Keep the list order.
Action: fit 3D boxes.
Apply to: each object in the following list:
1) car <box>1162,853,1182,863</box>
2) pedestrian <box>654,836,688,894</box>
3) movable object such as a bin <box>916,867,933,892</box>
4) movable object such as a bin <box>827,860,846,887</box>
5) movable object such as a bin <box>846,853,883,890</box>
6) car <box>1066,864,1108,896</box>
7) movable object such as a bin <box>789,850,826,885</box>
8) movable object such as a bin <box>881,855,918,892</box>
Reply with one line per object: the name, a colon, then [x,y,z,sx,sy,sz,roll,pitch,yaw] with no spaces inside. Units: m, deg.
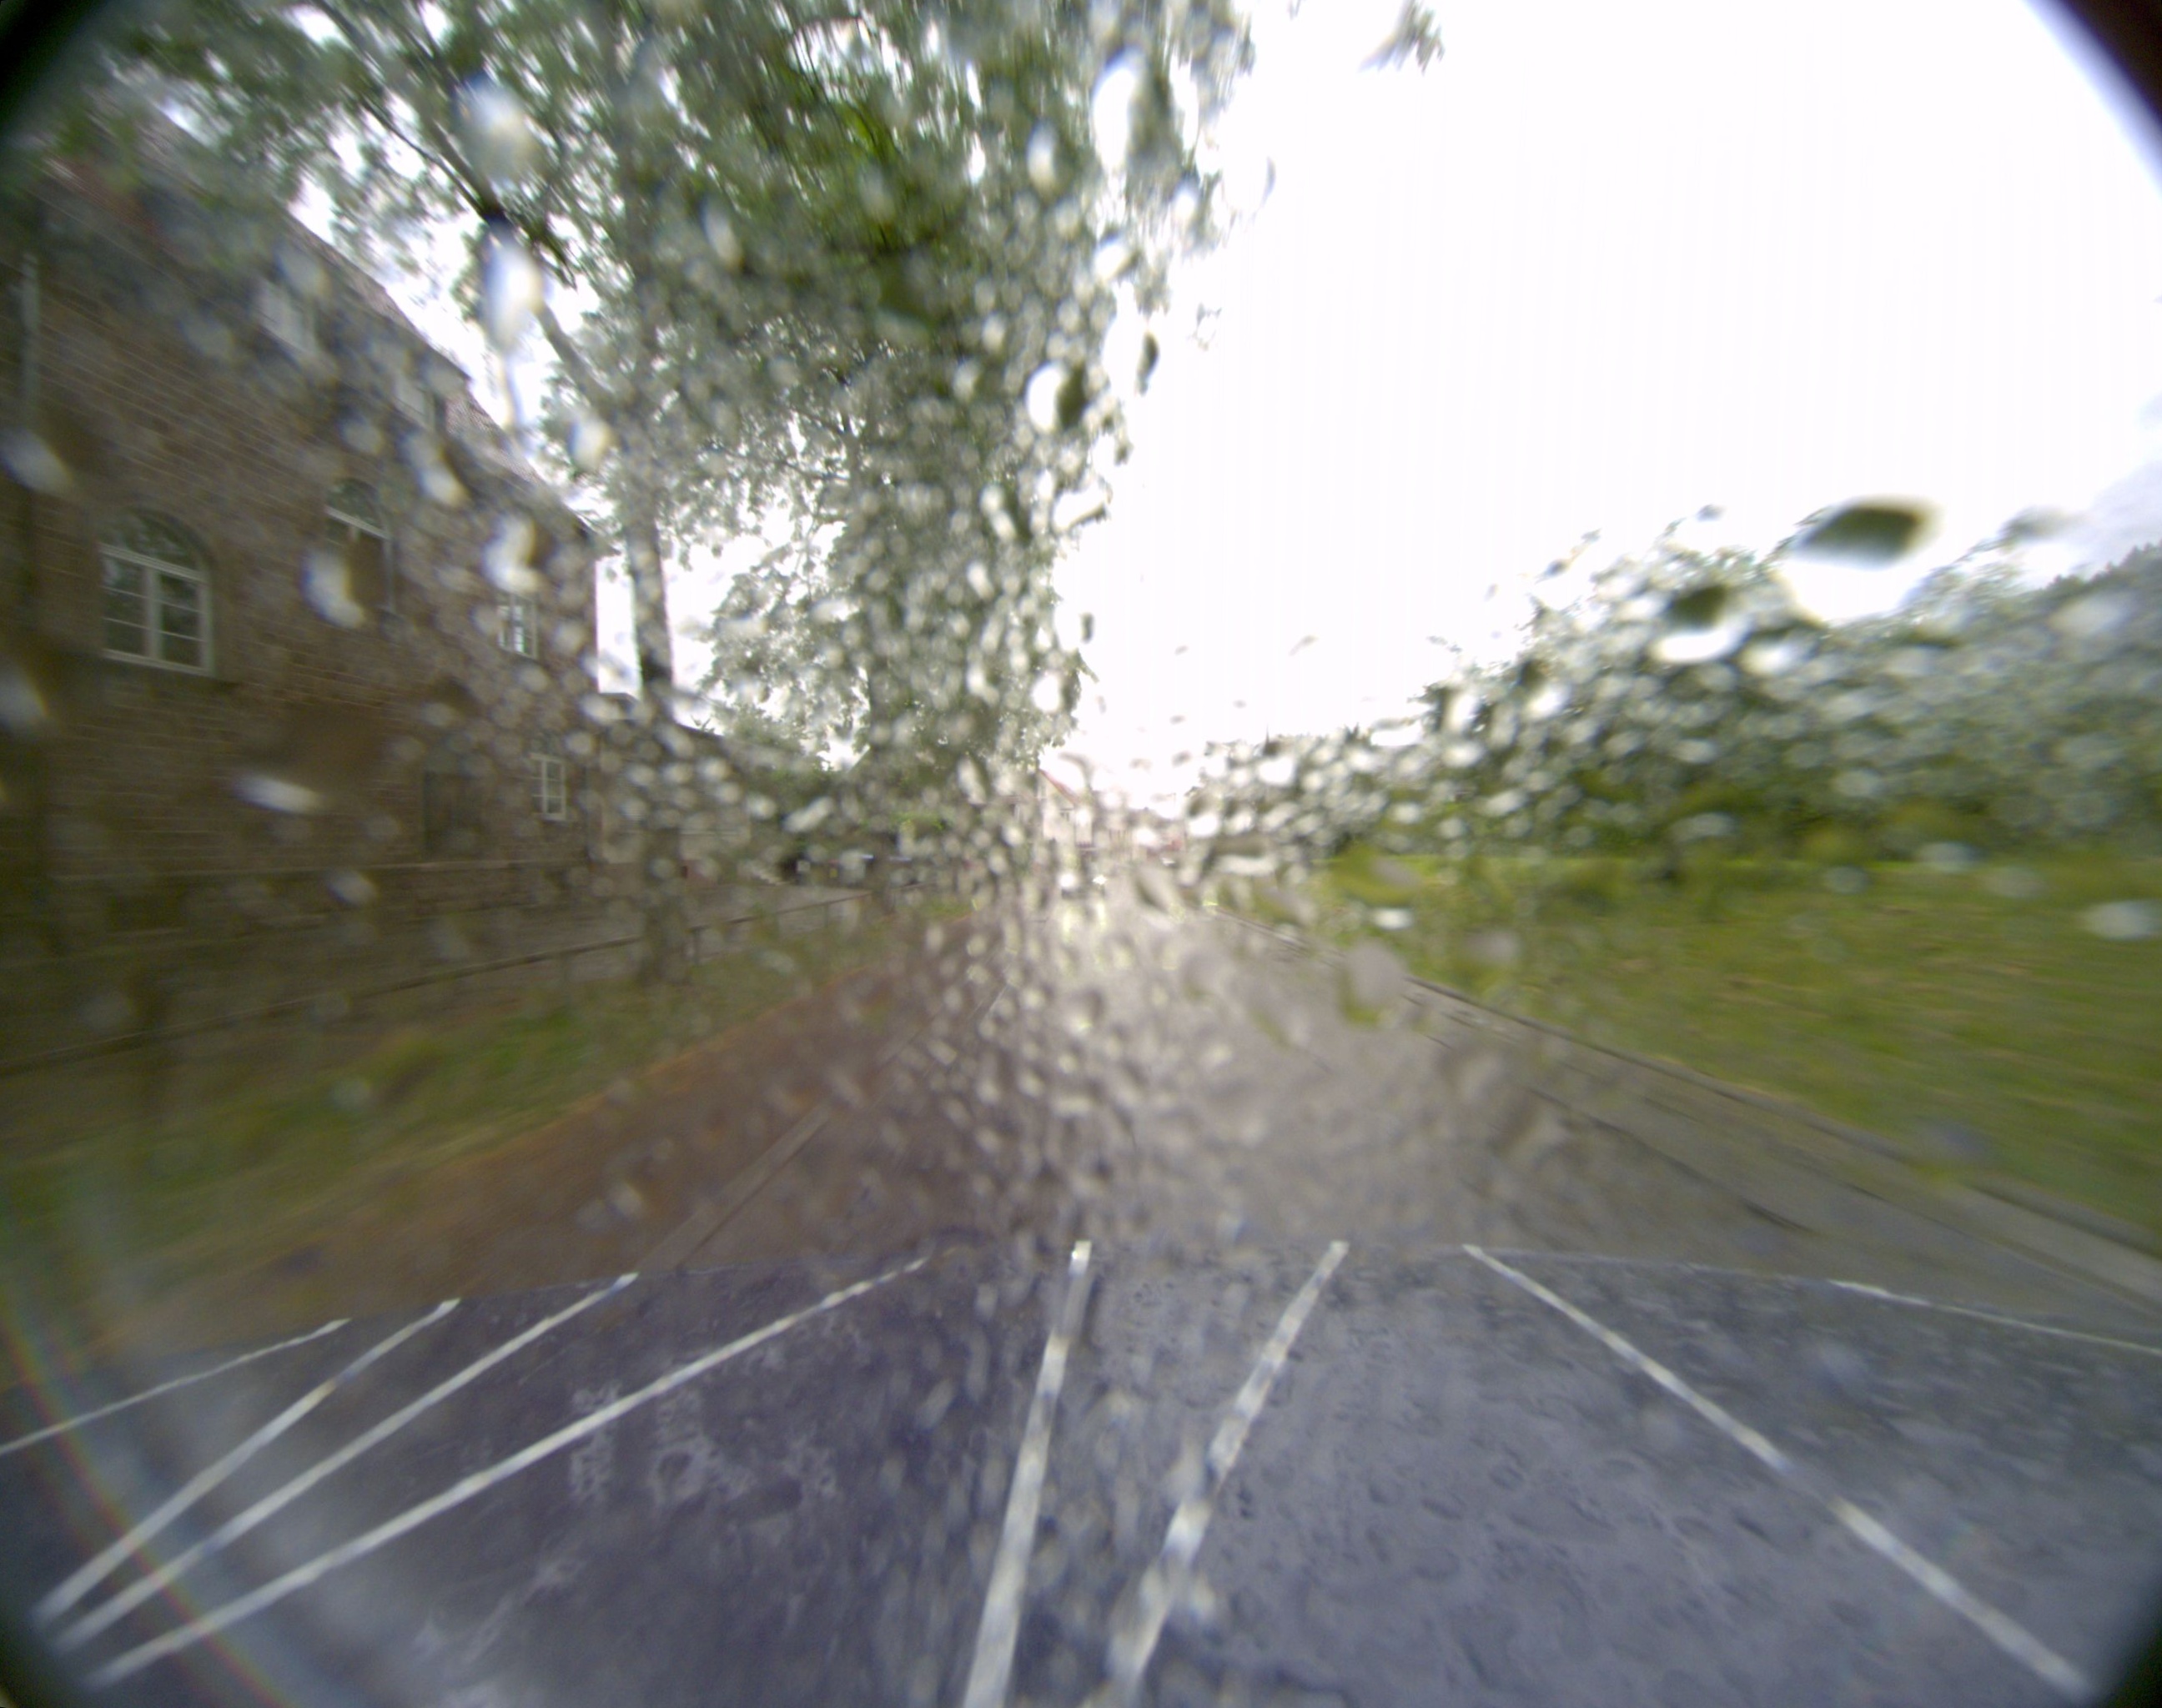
car: [14.695,0.674,122.798,1.892,1.566,3.887,-3,0,-13]
pedestrian: [-12.581,0.349,23.334,0.536,1.744,0.867,0,0,1]
movable object such as a bin: [-6.449,1.044,31.344,0.538,1.017,0.463,3,1,-1]
movable object such as a bin: [-10.097,0.796,31.410,0.568,1.073,0.530,3,1,-1]
movable object such as a bin: [-8.927,0.696,31.336,1.238,1.428,0.795,3,1,-1]
car: [0.196,1.088,32.941,1.667,1.290,3.518,-2,-1,-1]
movable object such as a bin: [-11.228,0.549,31.257,1.151,1.335,0.795,4,1,0]
movable object such as a bin: [-7.459,0.791,31.239,1.296,1.410,0.795,3,1,-1]
